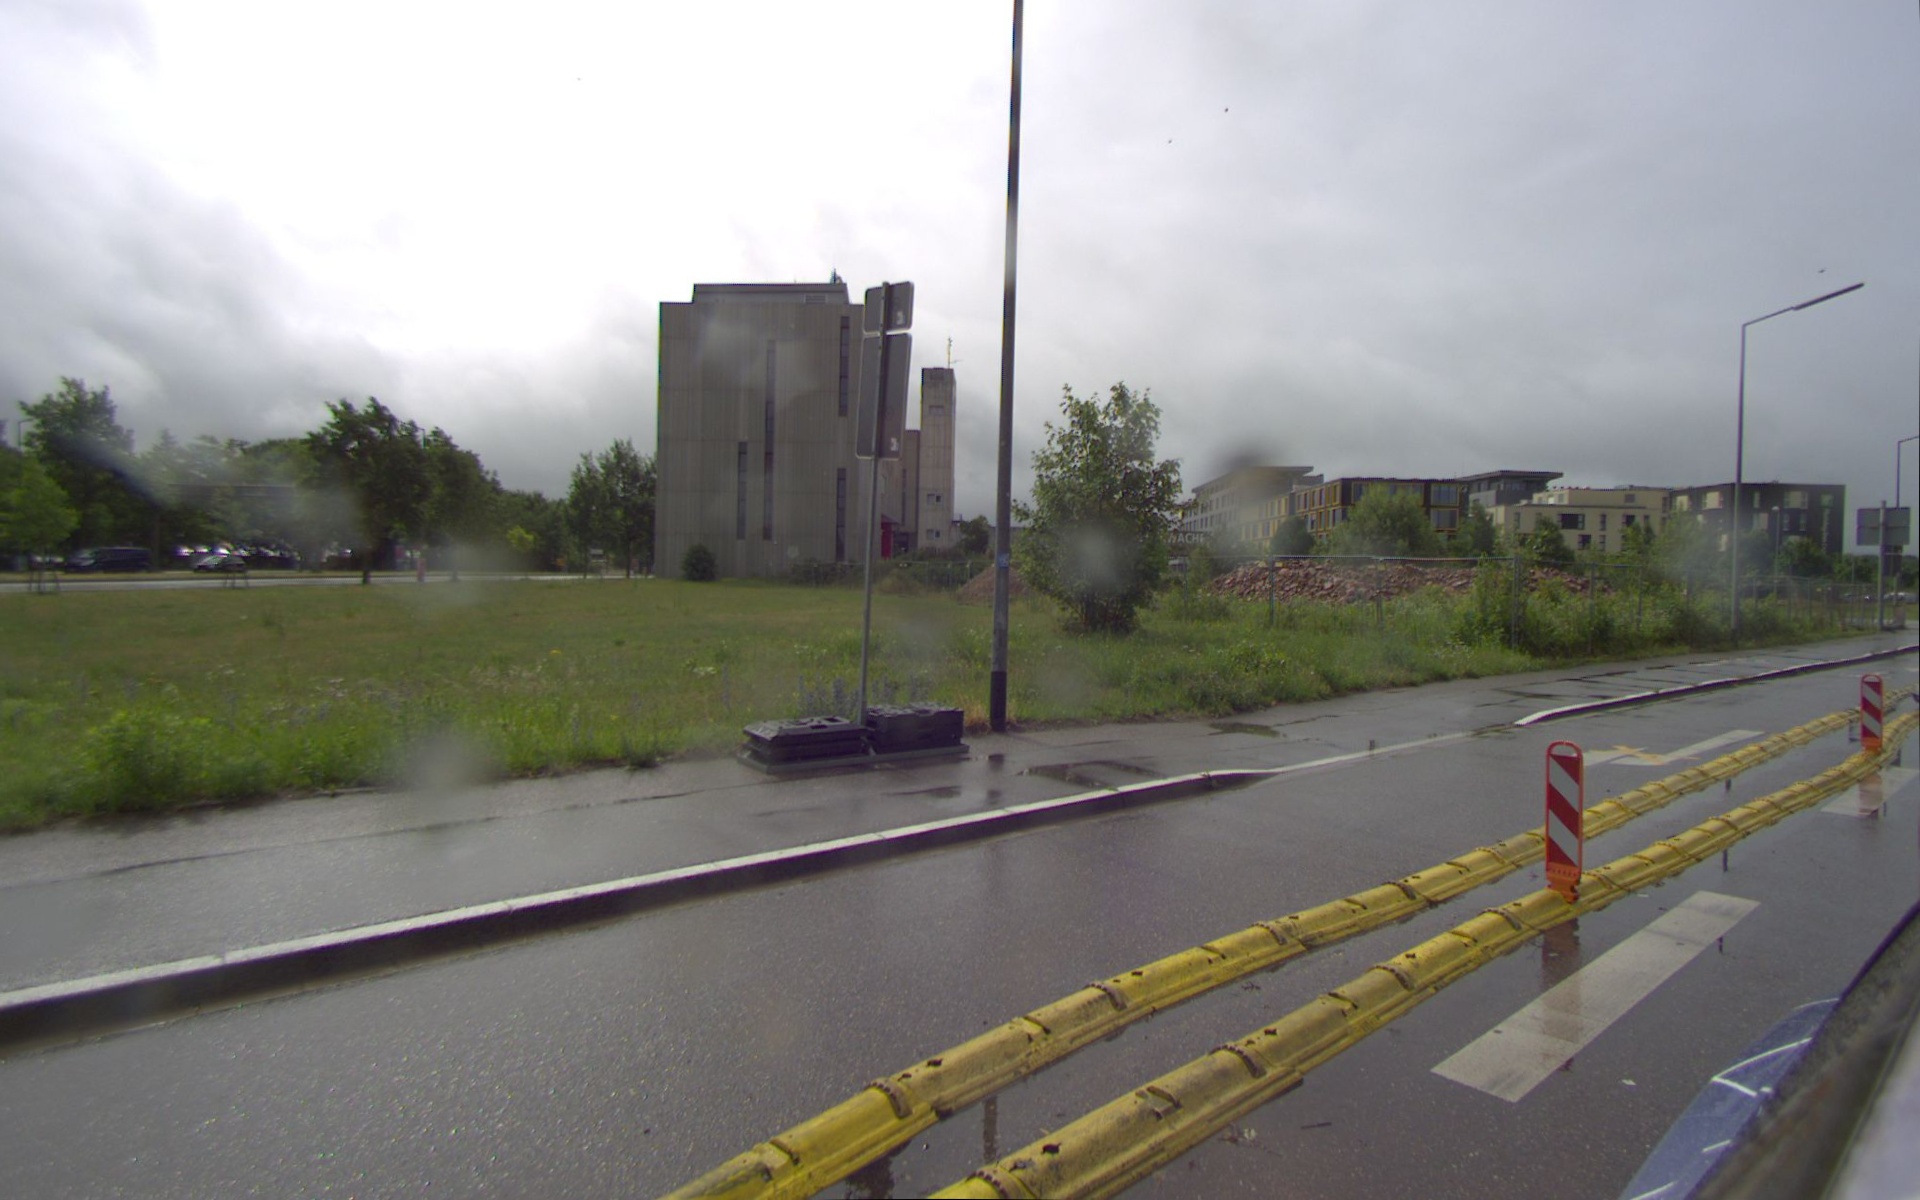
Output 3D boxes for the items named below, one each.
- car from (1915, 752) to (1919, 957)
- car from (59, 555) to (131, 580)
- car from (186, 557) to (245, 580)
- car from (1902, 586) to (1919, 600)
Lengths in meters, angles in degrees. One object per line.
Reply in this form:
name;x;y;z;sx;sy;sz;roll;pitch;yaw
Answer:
car;5.628;0.659;4.514;3.753;1.450;1.722;0;1;-43
car;-55.654;-2.076;65.197;1.515;1.578;3.521;1;2;4
car;-52.933;-2.247;72.037;1.515;1.578;3.521;1;2;4
car;142.724;-0.991;150.049;3.931;2.039;1.997;1;1;6
